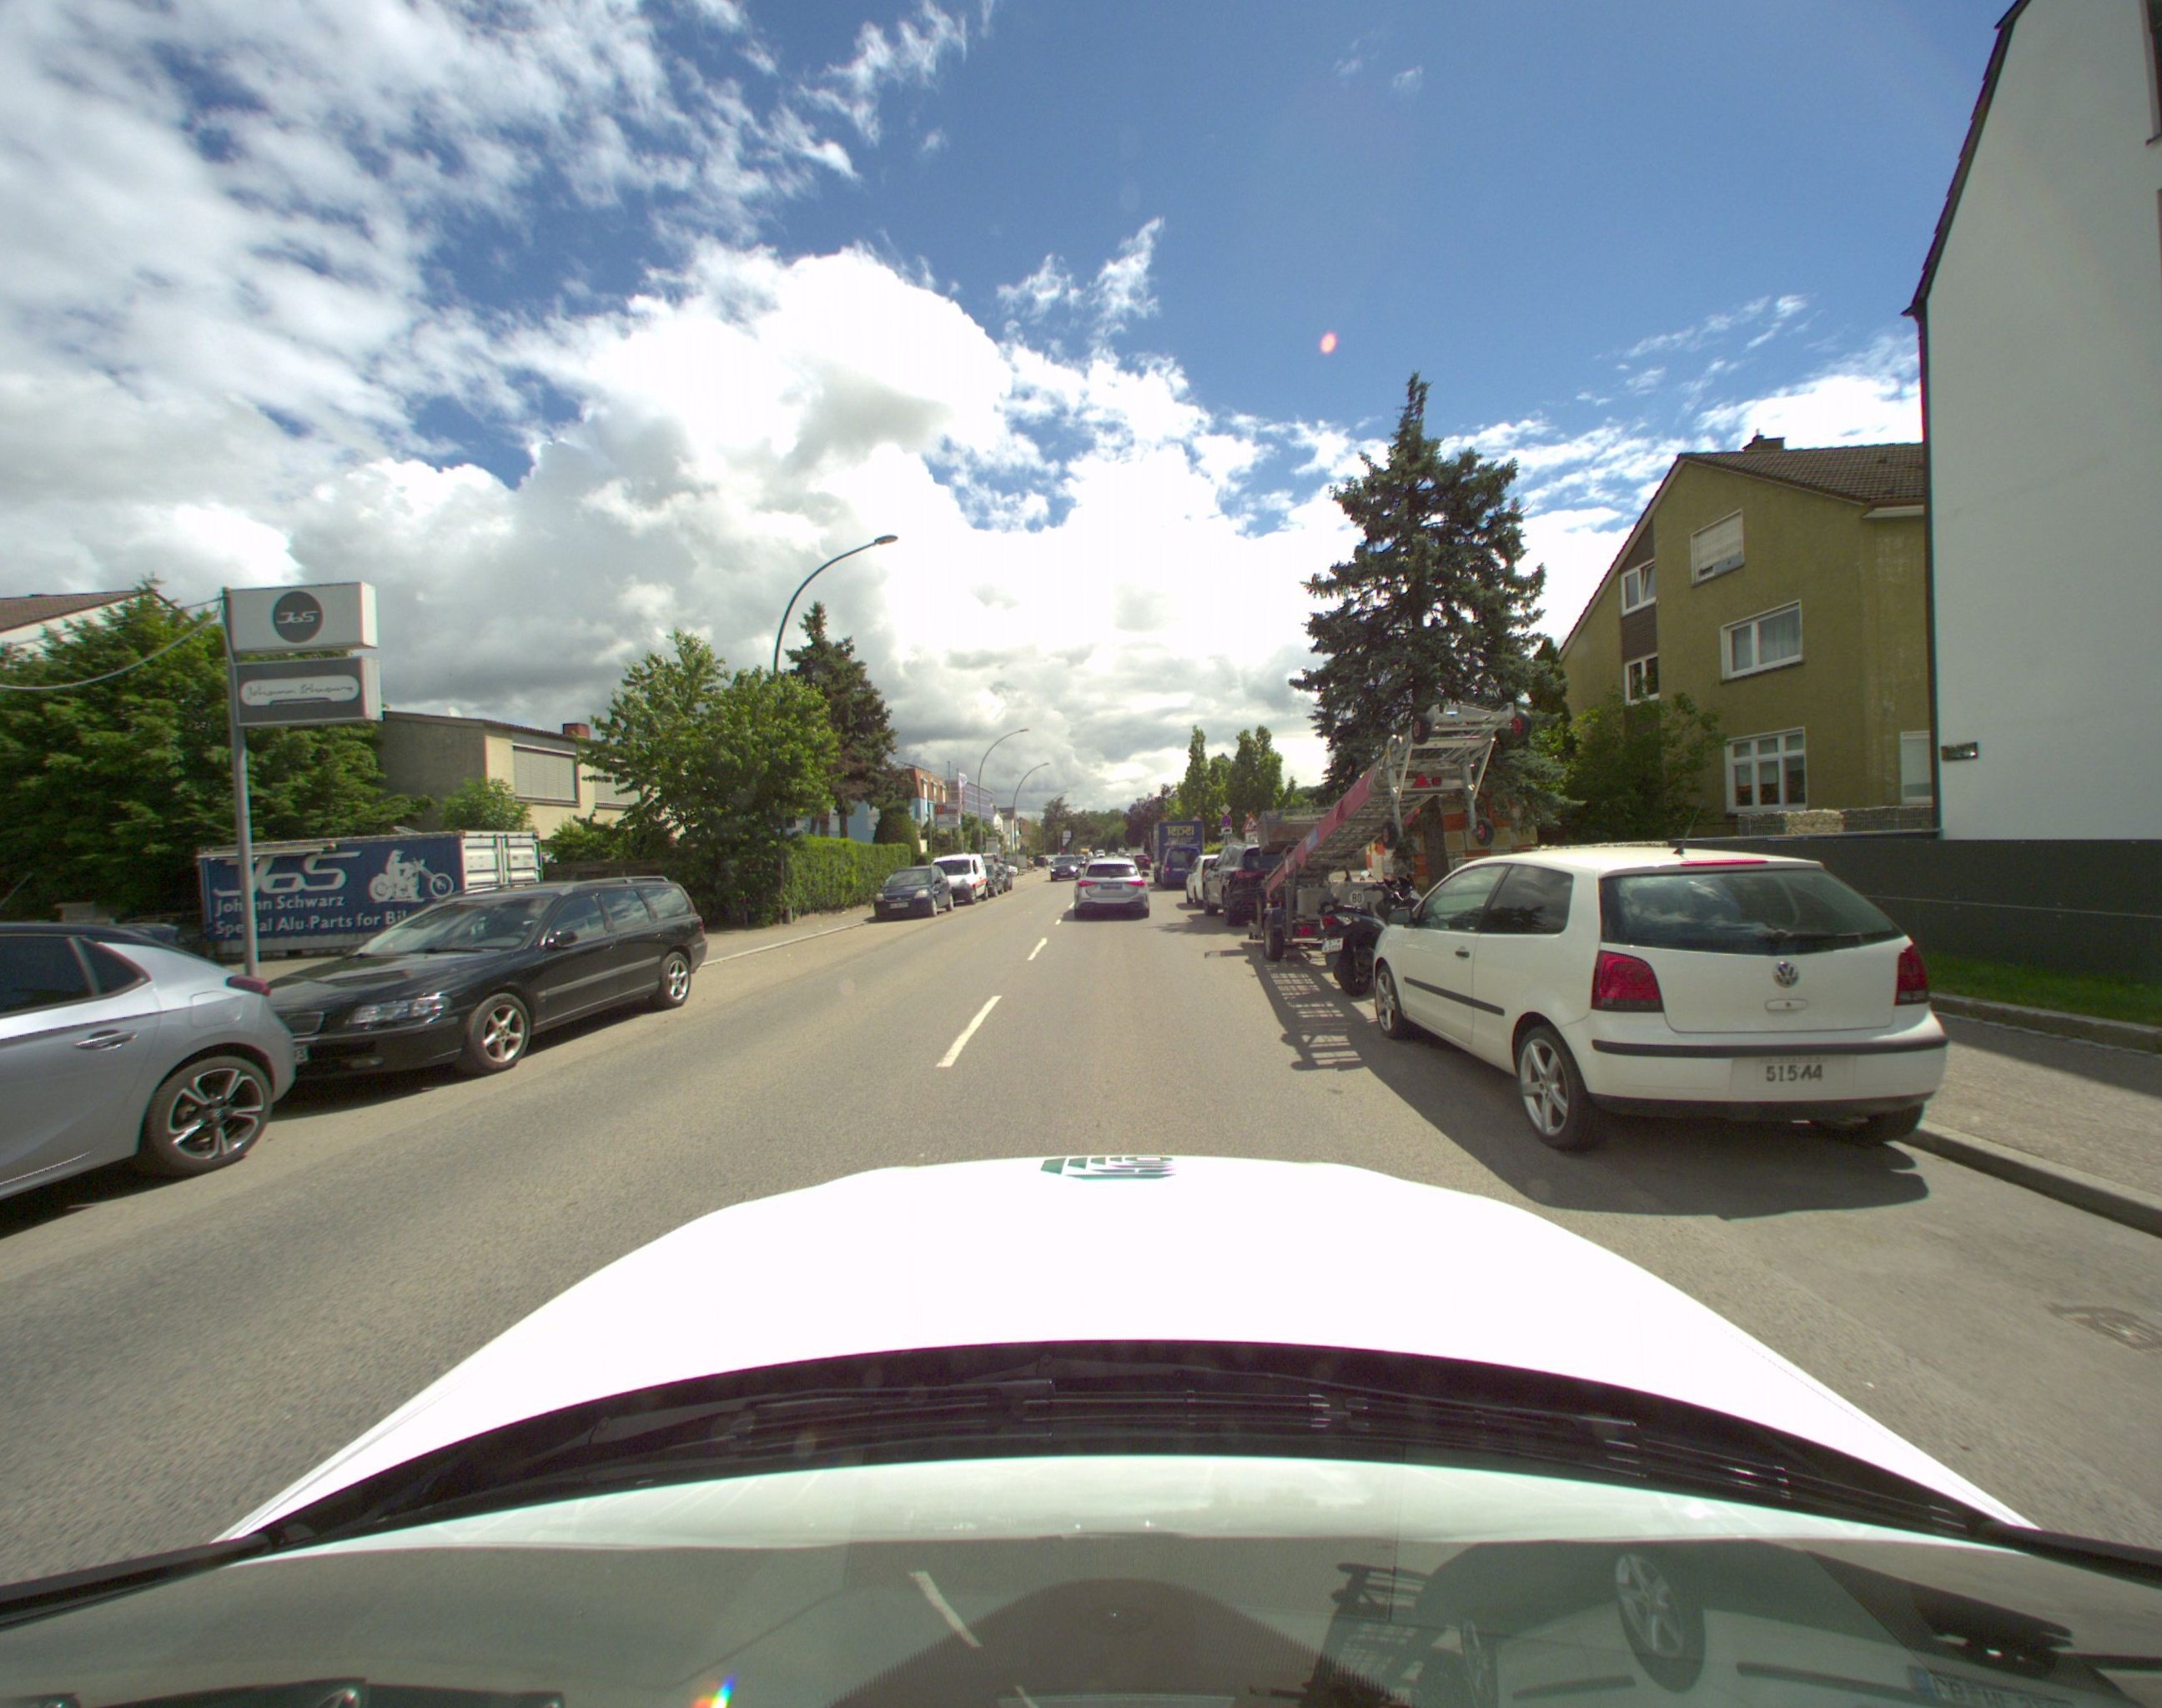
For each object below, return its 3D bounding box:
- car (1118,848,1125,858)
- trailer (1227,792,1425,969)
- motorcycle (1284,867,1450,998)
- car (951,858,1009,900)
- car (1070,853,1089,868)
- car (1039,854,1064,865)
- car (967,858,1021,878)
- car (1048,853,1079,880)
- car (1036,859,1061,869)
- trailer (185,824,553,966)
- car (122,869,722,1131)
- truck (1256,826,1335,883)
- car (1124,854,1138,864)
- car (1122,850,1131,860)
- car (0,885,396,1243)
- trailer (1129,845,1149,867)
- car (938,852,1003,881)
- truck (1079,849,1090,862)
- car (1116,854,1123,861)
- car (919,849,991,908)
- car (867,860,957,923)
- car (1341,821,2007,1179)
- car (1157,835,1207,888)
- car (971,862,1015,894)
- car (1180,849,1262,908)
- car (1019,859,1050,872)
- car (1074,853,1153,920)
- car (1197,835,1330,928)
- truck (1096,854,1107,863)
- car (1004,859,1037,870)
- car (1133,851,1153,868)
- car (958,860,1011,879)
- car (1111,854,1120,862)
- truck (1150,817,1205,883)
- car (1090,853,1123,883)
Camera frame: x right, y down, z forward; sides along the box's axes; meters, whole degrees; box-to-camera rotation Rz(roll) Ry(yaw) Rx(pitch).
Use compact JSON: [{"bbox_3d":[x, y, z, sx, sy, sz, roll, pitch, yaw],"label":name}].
[{"bbox_3d":[11.275,-0.246,225.415,1.778,2.518,4.316,-1,-1,0],"label":"car"},{"bbox_3d":[3.448,0.324,12.291,1.766,2.144,4.115,-3,0,2],"label":"trailer"},{"bbox_3d":[3.142,0.792,8.892,1.830,1.210,0.710,-3,0,-34],"label":"motorcycle"},{"bbox_3d":[-4.298,1.014,35.309,1.737,1.472,4.645,-6,0,1],"label":"car"},{"bbox_3d":[-0.132,0.725,92.967,1.986,1.615,4.412,-4,0,1],"label":"car"},{"bbox_3d":[-5.347,1.011,147.615,4.264,1.836,1.991,-3,-3,1],"label":"car"},{"bbox_3d":[-7.477,1.214,70.470,4.357,1.478,1.872,-3,-1,2],"label":"car"},{"bbox_3d":[-1.122,0.793,53.053,1.737,1.627,4.357,-2,0,2],"label":"car"},{"bbox_3d":[-5.671,1.767,142.496,4.263,1.567,1.992,-3,-3,2],"label":"car"},{"bbox_3d":[-16.681,0.898,19.405,6.218,2.651,2.734,-5,0,2],"label":"trailer"},{"bbox_3d":[-5.357,1.000,7.707,1.714,1.493,4.735,-3,0,0],"label":"car"},{"bbox_3d":[8.932,-0.053,34.415,1.823,2.081,5.387,-5,1,1],"label":"truck"},{"bbox_3d":[7.941,0.842,129.213,1.786,1.450,4.362,-3,0,0],"label":"car"},{"bbox_3d":[10.490,0.218,187.988,2.136,1.984,5.264,-3,0,3],"label":"car"},{"bbox_3d":[-5.493,1.001,3.322,1.714,1.432,4.199,-4,0,0],"label":"car"},{"bbox_3d":[6.583,0.245,93.292,1.935,2.294,4.446,-3,0,1],"label":"trailer"},{"bbox_3d":[-8.505,0.949,62.843,4.638,1.972,2.114,-3,0,-2],"label":"car"},{"bbox_3d":[0.869,0.368,186.592,2.066,2.814,7.084,-3,0,3],"label":"truck"},{"bbox_3d":[10.122,0.965,213.227,1.778,1.715,4.316,-1,-1,0],"label":"car"},{"bbox_3d":[-4.501,0.815,29.757,1.737,1.838,4.356,-5,0,1],"label":"car"},{"bbox_3d":[-4.855,1.028,23.974,1.634,1.486,4.001,-6,0,1],"label":"car"},{"bbox_3d":[3.149,0.609,5.466,1.712,1.432,3.988,-4,0,4],"label":"car"},{"bbox_3d":[4.419,0.304,36.129,1.866,2.169,4.467,-1,0,3],"label":"car"},{"bbox_3d":[-4.317,1.133,40.341,1.625,1.303,4.116,-6,0,0],"label":"car"},{"bbox_3d":[4.001,0.640,23.870,1.766,1.508,4.002,-3,0,2],"label":"car"},{"bbox_3d":[-7.409,1.794,129.732,4.614,1.632,2.196,-5,0,-2],"label":"car"},{"bbox_3d":[0.767,0.747,20.955,1.778,1.484,4.316,-1,0,0],"label":"car"},{"bbox_3d":[3.899,0.518,18.229,1.867,1.727,4.713,-3,0,0],"label":"car"},{"bbox_3d":[5.132,1.062,199.503,2.308,2.178,6.456,-3,0,4],"label":"truck"},{"bbox_3d":[-7.887,1.358,106.258,4.138,1.492,1.825,0,0,-2],"label":"car"},{"bbox_3d":[6.251,0.553,81.894,1.933,1.571,4.451,-3,0,4],"label":"car"},{"bbox_3d":[-7.722,1.222,65.734,3.973,1.315,1.871,-3,-1,0],"label":"car"},{"bbox_3d":[7.101,0.795,169.352,1.749,1.558,4.001,-2,0,1],"label":"car"},{"bbox_3d":[4.835,-0.209,41.616,2.311,3.097,6.046,-1,0,2],"label":"truck"},{"bbox_3d":[1.447,0.735,46.503,1.749,1.558,4.001,-2,0,1],"label":"car"}]
